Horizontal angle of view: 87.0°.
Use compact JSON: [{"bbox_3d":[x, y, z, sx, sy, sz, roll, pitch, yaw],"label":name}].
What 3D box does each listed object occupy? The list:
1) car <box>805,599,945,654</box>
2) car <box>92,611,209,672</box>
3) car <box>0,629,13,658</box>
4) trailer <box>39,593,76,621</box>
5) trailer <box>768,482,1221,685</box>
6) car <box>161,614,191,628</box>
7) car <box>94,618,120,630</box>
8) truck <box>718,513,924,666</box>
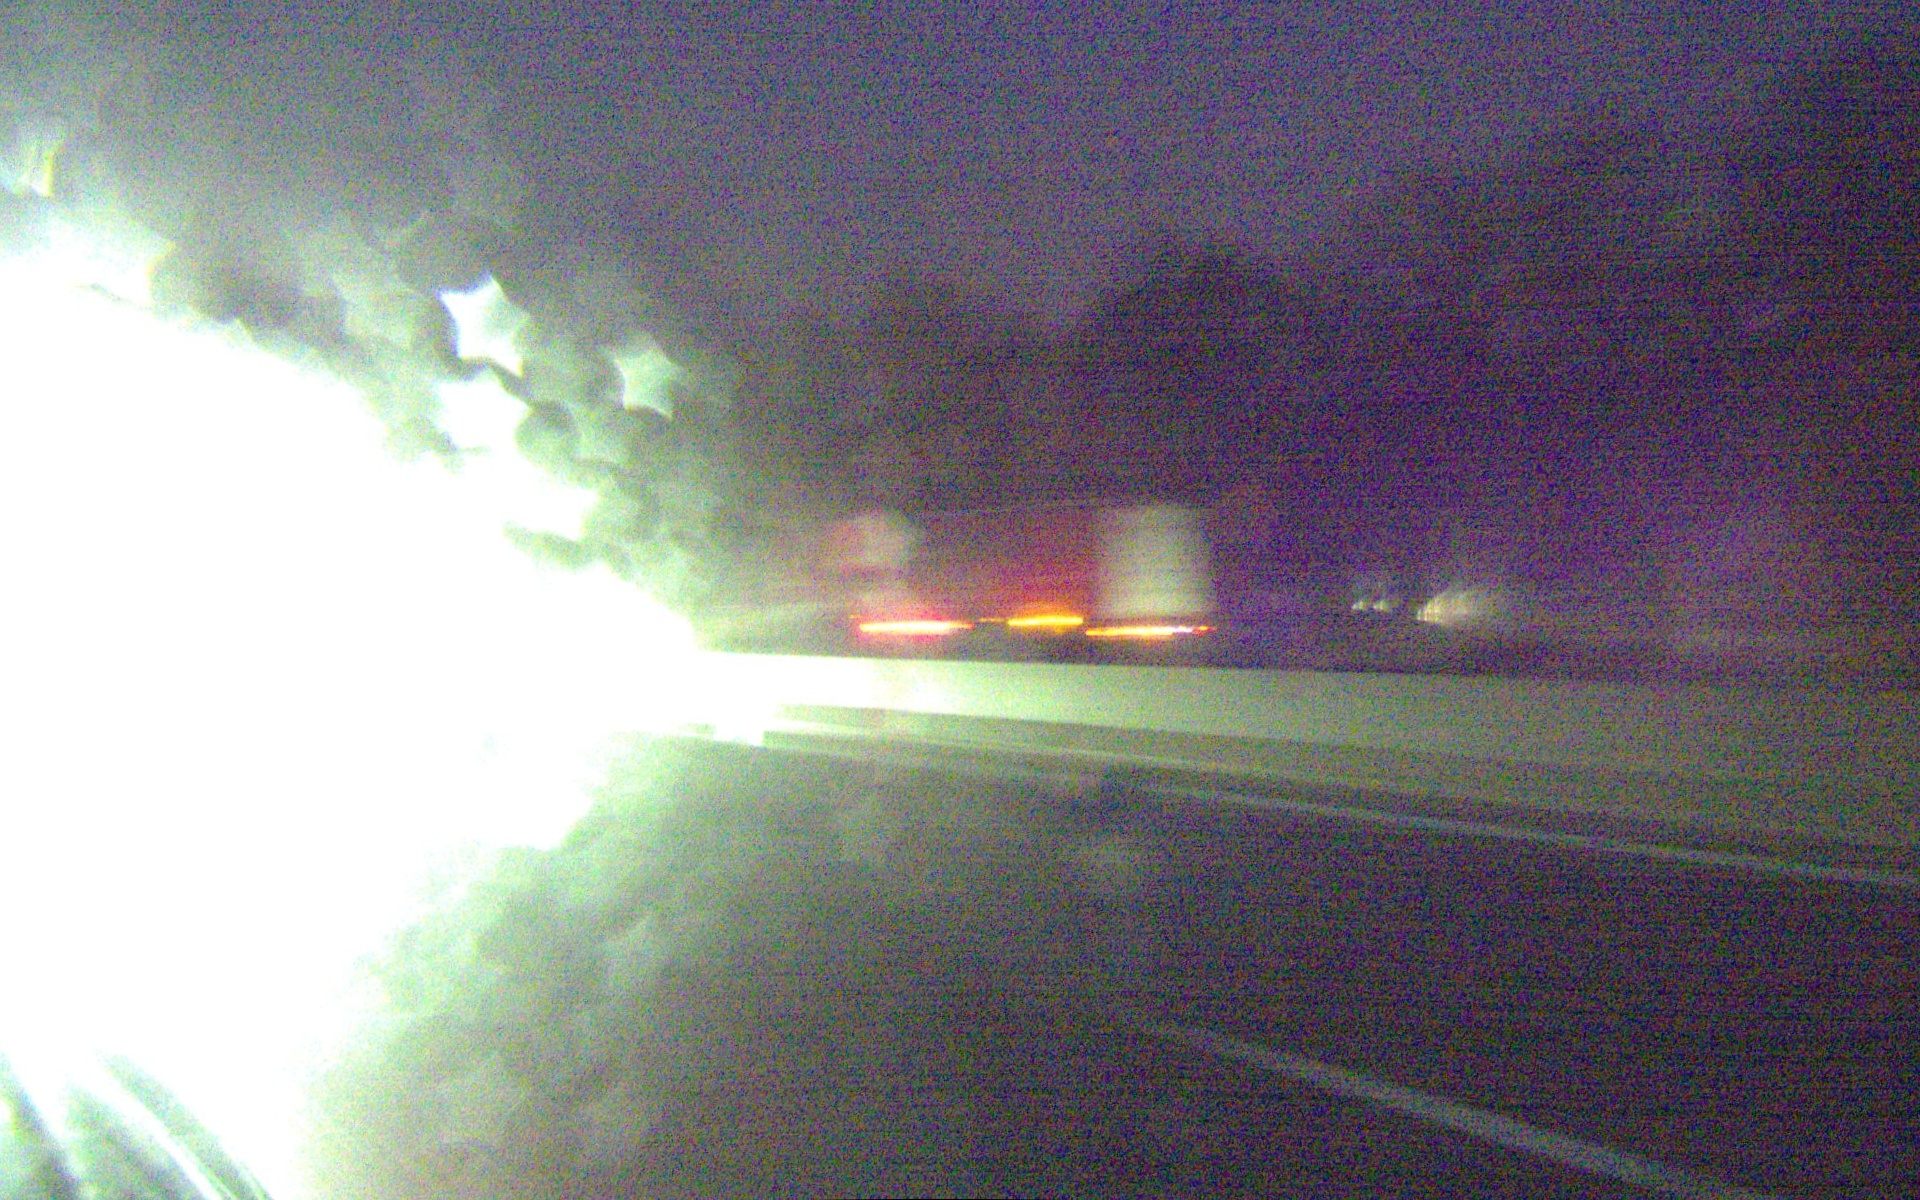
[{"bbox_3d":[-2.198,0.643,25.795,3.407,1.298,1.625,0,-1,40],"label":"car"},{"bbox_3d":[-23.342,1.140,29.130,2.277,1.621,3.874,1,-1,-44],"label":"car"},{"bbox_3d":[-60.163,2.704,62.708,4.001,1.689,1.971,0,-1,44],"label":"car"},{"bbox_3d":[-180.326,1.425,202.231,8.993,5.179,4.295,-1,2,42],"label":"trailer"},{"bbox_3d":[0.288,-0.325,29.506,13.957,4.659,4.122,0,-1,43],"label":"trailer"},{"bbox_3d":[-91.840,2.430,118.468,5.036,1.475,1.769,0,0,40],"label":"car"},{"bbox_3d":[-109.001,3.038,129.328,3.997,1.475,1.940,0,0,40],"label":"car"},{"bbox_3d":[-4.745,-0.286,34.223,5.846,4.659,4.122,0,-1,43],"label":"truck"}]
